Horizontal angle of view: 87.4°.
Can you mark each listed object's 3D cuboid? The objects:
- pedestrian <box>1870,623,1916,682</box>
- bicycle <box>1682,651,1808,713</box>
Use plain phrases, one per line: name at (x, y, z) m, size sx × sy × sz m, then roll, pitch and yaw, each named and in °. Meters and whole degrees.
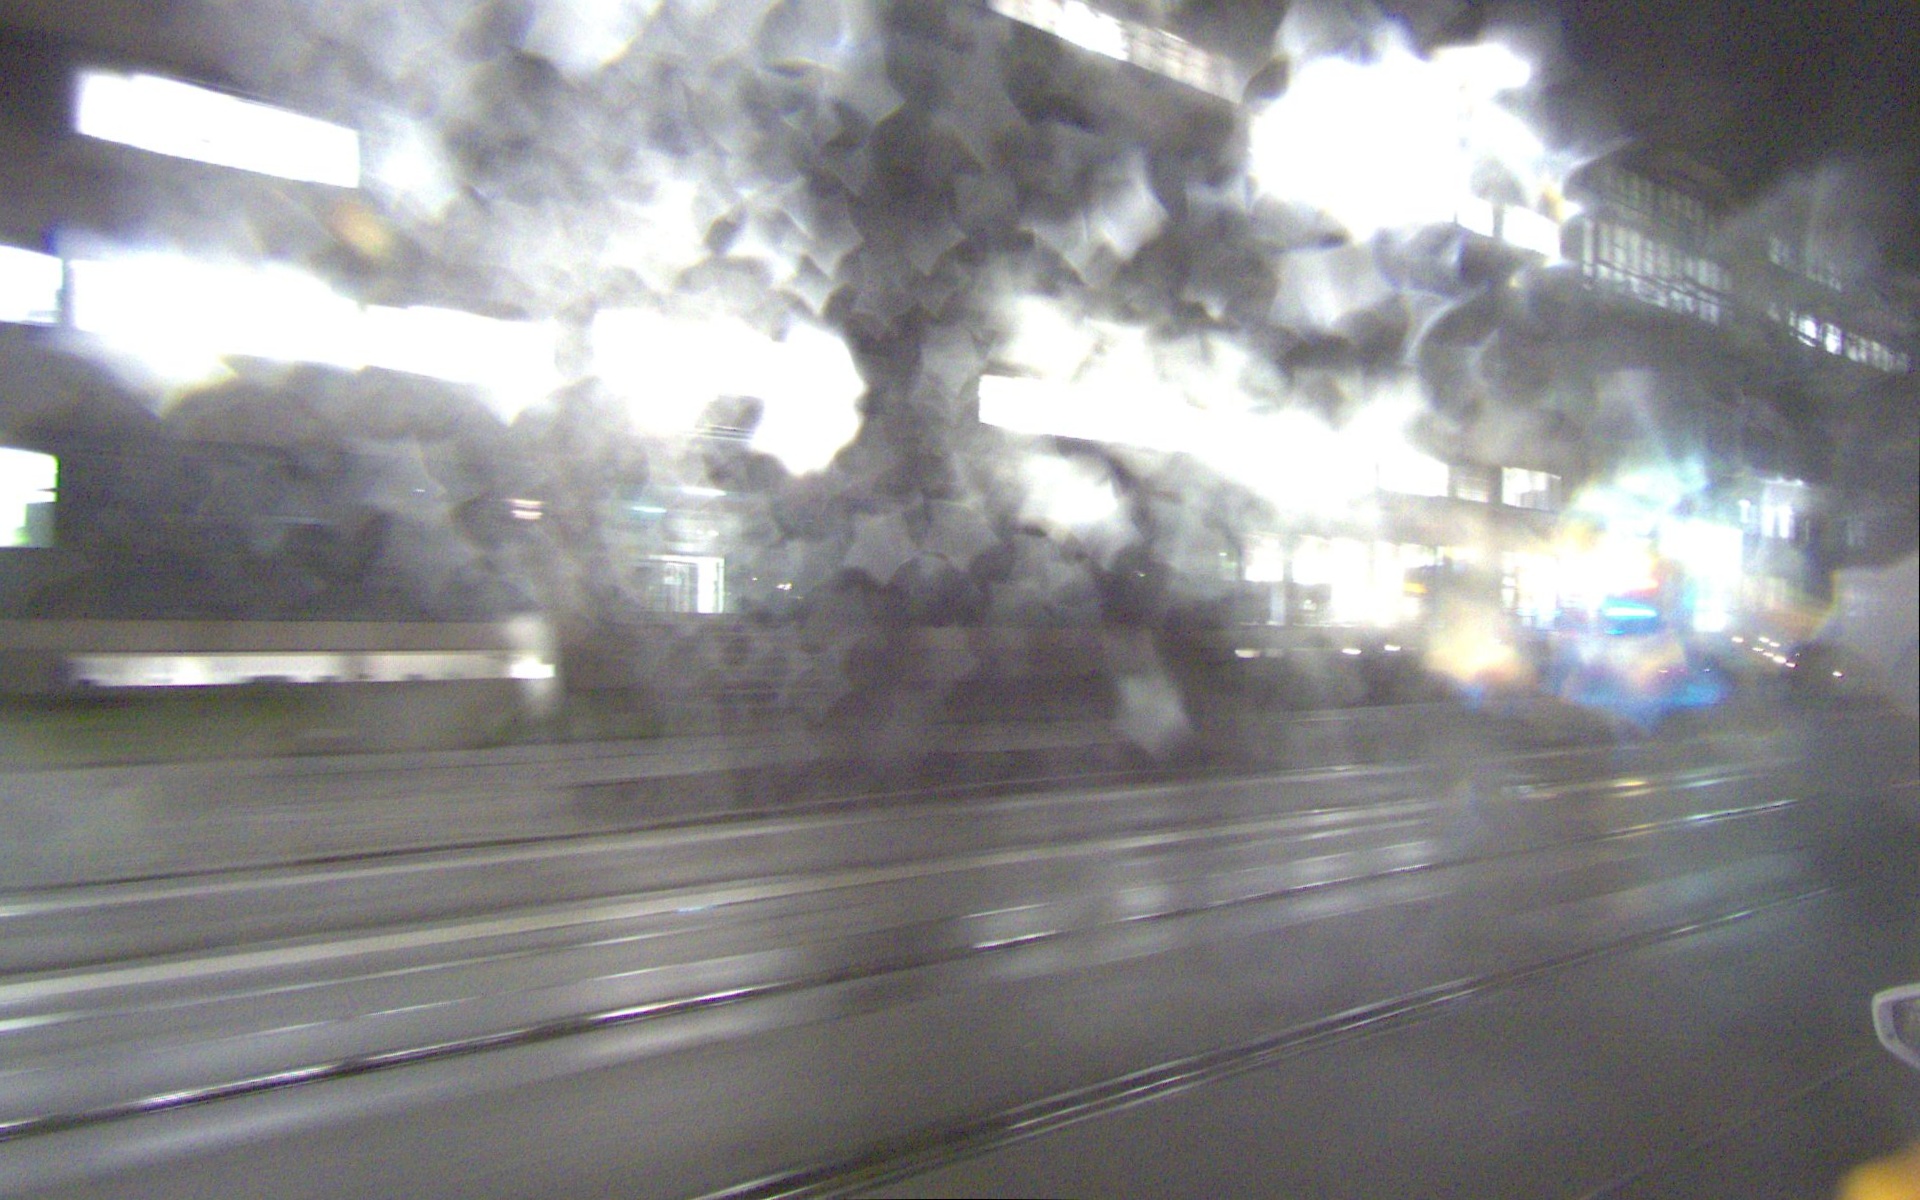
pedestrian at (27.901, 1.566, 30.049) m, size 0.872 × 1.709 × 0.782 m, roll 2°, pitch -1°, yaw -30°
bicycle at (15.272, 1.568, 19.586) m, size 0.620 × 1.092 × 1.845 m, roll 2°, pitch -1°, yaw -29°
